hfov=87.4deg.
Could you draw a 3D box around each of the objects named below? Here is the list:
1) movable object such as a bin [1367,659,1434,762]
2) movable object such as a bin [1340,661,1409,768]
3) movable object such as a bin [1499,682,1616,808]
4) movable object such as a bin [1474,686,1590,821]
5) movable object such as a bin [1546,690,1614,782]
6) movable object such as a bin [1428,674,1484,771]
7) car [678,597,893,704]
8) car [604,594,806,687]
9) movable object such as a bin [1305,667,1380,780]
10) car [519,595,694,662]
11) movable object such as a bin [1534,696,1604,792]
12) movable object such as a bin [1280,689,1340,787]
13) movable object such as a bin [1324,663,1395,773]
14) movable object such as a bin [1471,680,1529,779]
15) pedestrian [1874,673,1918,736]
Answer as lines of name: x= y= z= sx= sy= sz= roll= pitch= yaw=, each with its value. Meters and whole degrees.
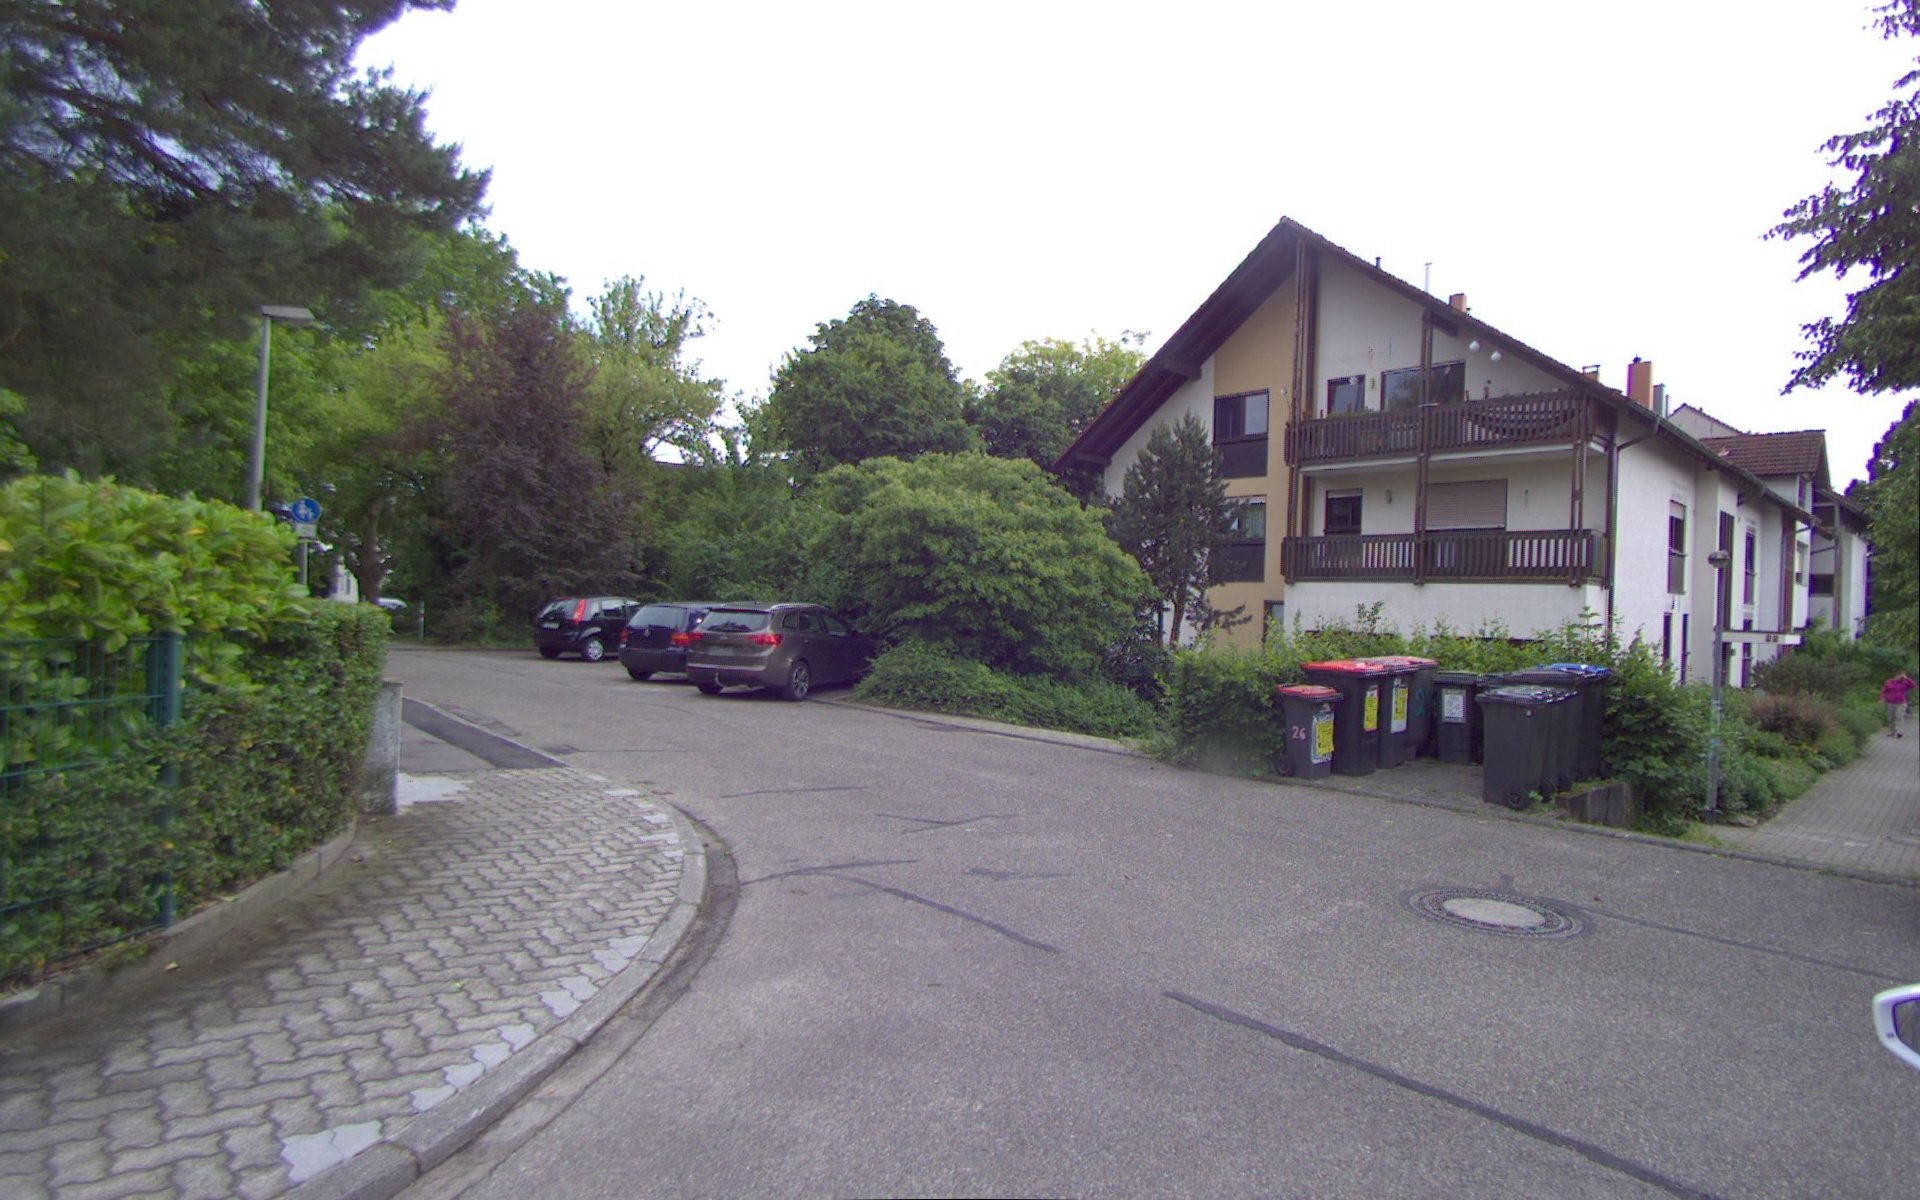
movable object such as a bin: x=4.623 y=1.147 z=10.544 sx=0.531 sy=1.007 sz=0.335 roll=3 pitch=1 yaw=44
movable object such as a bin: x=4.202 y=1.149 z=10.187 sx=0.531 sy=1.007 sz=0.335 roll=3 pitch=1 yaw=44
movable object such as a bin: x=5.225 y=1.240 z=8.793 sx=0.580 sy=0.966 sz=0.726 roll=2 pitch=1 yaw=-44
movable object such as a bin: x=4.725 y=1.232 z=8.292 sx=0.718 sy=0.966 sz=0.632 roll=2 pitch=1 yaw=-45
movable object such as a bin: x=5.976 y=1.298 z=9.689 sx=0.377 sy=0.808 sz=0.454 roll=2 pitch=1 yaw=-44
movable object such as a bin: x=5.020 y=1.230 z=10.174 sx=0.382 sy=0.913 sz=0.377 roll=3 pitch=1 yaw=44
car: x=-2.744 y=0.770 z=16.726 sx=1.668 sy=1.510 sz=3.999 roll=2 pitch=0 yaw=21
car: x=-4.668 y=0.710 z=19.001 sx=1.668 sy=1.510 sz=3.999 roll=2 pitch=0 yaw=21
movable object such as a bin: x=3.680 y=1.172 z=9.674 sx=0.531 sy=1.007 sz=0.377 roll=3 pitch=1 yaw=44
car: x=-8.206 y=0.646 z=23.693 sx=1.668 sy=1.393 sz=3.999 roll=2 pitch=0 yaw=21
movable object such as a bin: x=5.683 y=1.328 z=9.373 sx=0.377 sy=0.808 sz=0.454 roll=2 pitch=1 yaw=-44
movable object such as a bin: x=3.295 y=1.287 z=9.451 sx=0.382 sy=0.848 sz=0.377 roll=3 pitch=1 yaw=44
movable object such as a bin: x=3.949 y=1.149 z=9.932 sx=0.531 sy=1.007 sz=0.335 roll=3 pitch=1 yaw=44
movable object such as a bin: x=5.320 y=1.266 z=9.897 sx=0.382 sy=0.901 sz=0.377 roll=3 pitch=1 yaw=44
pedestrian: x=23.962 y=2.667 z=25.713 sx=0.806 sy=1.537 sz=0.436 roll=1 pitch=-1 yaw=45
